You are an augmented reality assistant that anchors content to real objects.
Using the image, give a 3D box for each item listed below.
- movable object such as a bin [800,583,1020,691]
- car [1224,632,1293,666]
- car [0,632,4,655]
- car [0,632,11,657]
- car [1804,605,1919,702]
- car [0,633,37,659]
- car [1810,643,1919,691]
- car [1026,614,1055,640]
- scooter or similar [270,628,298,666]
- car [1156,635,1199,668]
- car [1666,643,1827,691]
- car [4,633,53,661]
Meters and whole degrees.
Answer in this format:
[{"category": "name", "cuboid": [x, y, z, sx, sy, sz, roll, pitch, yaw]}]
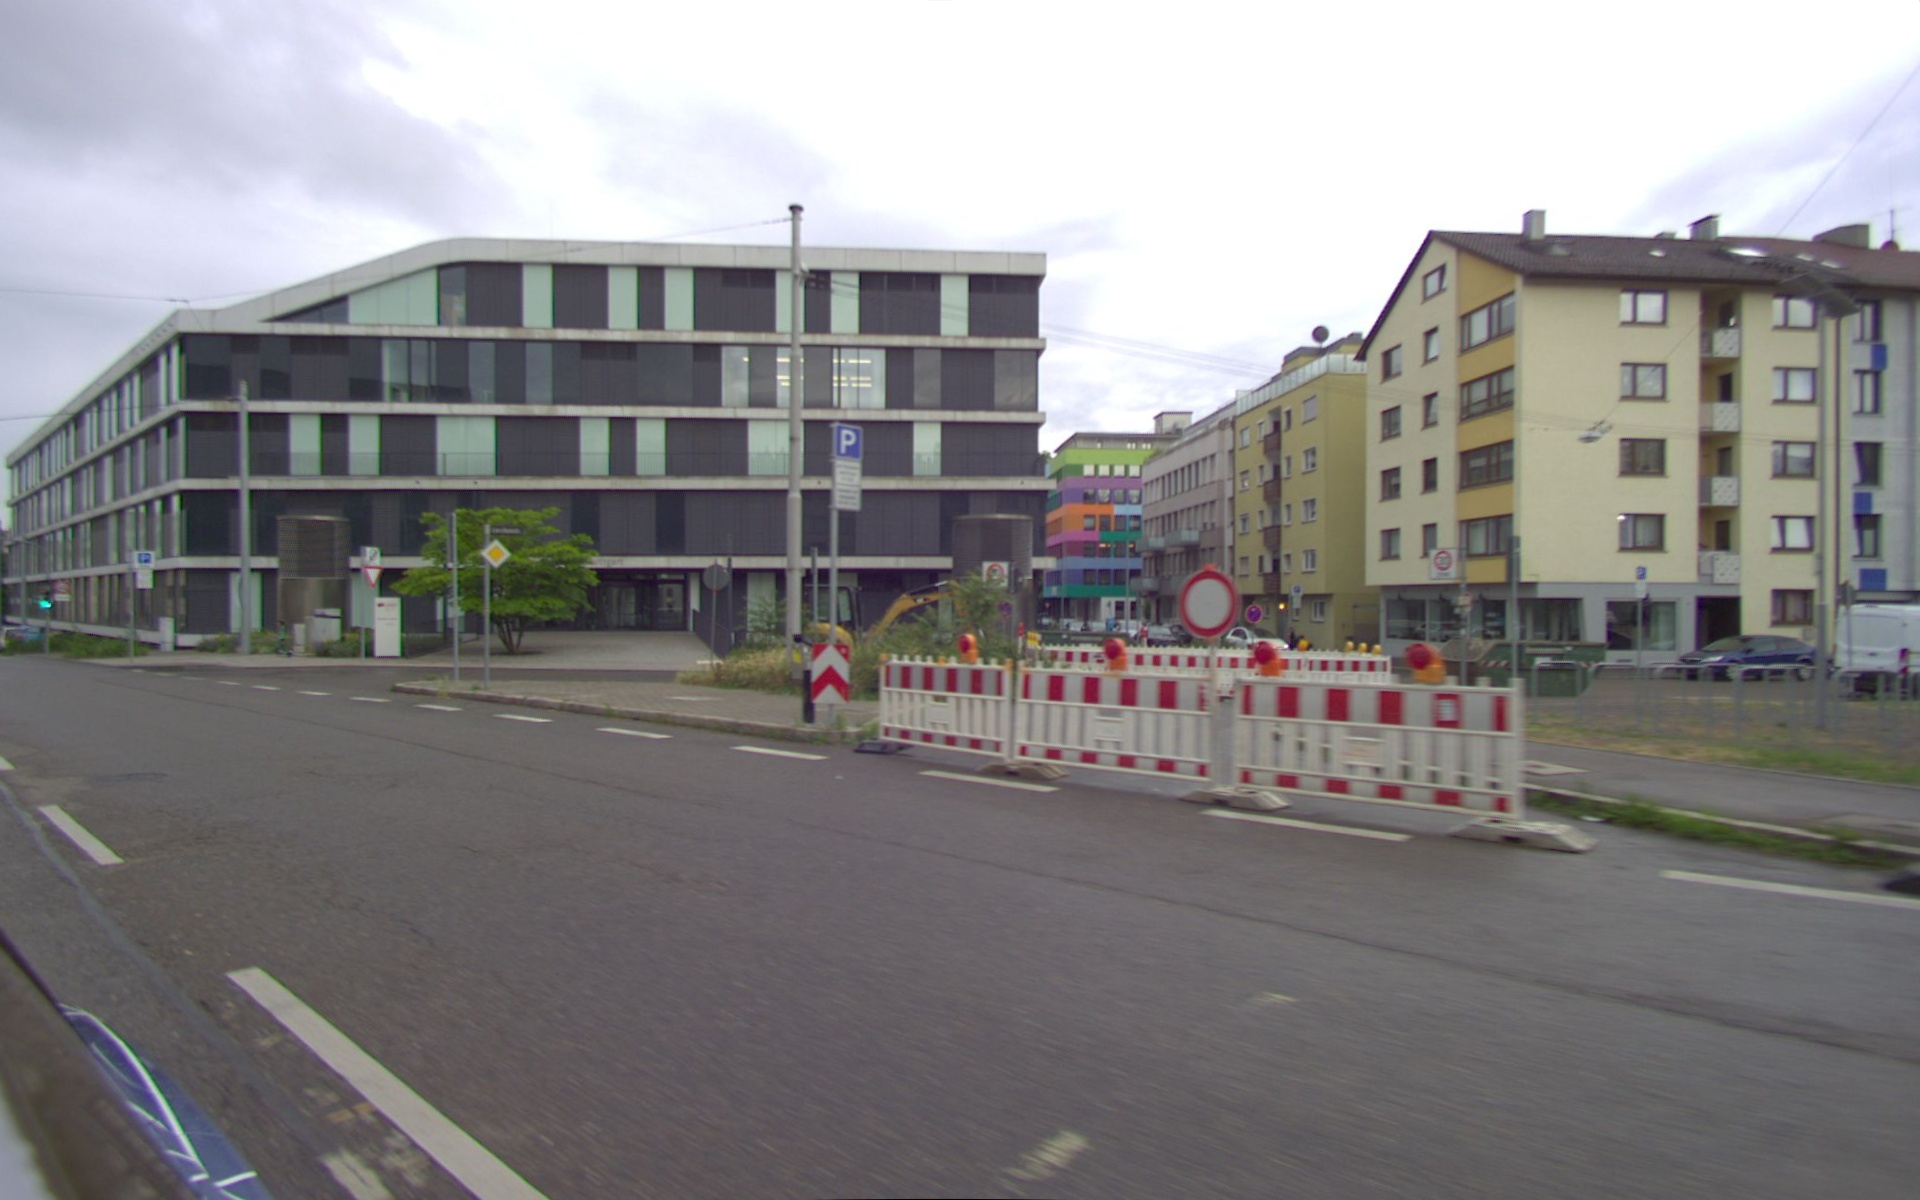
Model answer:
[{"category": "movable object such as a bin", "cuboid": [-1.190, 0.894, 24.939, 5.218, 2.478, 1.670, -1, -1, 2]}, {"category": "car", "cuboid": [14.162, 2.333, 48.224, 1.773, 1.522, 4.004, 0, -3, -5]}, {"category": "car", "cuboid": [-68.808, 3.103, 71.210, 4.361, 1.601, 1.811, -2, 0, 42]}, {"category": "car", "cuboid": [-64.435, 2.971, 67.177, 4.363, 1.601, 1.862, -2, 0, 44]}, {"category": "car", "cuboid": [26.300, 1.424, 26.932, 5.643, 2.432, 2.678, 0, -3, -7]}, {"category": "car", "cuboid": [-55.595, 2.706, 59.552, 3.583, 1.478, 1.619, -2, -2, 43]}, {"category": "car", "cuboid": [31.061, 2.223, 33.767, 3.939, 1.522, 1.802, 0, -3, -5]}, {"category": "car", "cuboid": [6.629, 2.227, 83.523, 1.773, 2.029, 4.004, 0, -3, -5]}, {"category": "scooter or similar", "cuboid": [-23.112, 1.588, 34.584, 1.231, 1.258, 0.491, -1, 0, 43]}, {"category": "car", "cuboid": [14.784, 3.489, 68.989, 1.773, 2.170, 4.004, 0, -3, -5]}, {"category": "car", "cuboid": [25.748, 2.201, 33.210, 3.938, 1.522, 1.802, 0, -3, -6]}, {"category": "car", "cuboid": [-52.012, 2.601, 56.495, 3.581, 1.478, 1.621, -2, -2, 40]}]
